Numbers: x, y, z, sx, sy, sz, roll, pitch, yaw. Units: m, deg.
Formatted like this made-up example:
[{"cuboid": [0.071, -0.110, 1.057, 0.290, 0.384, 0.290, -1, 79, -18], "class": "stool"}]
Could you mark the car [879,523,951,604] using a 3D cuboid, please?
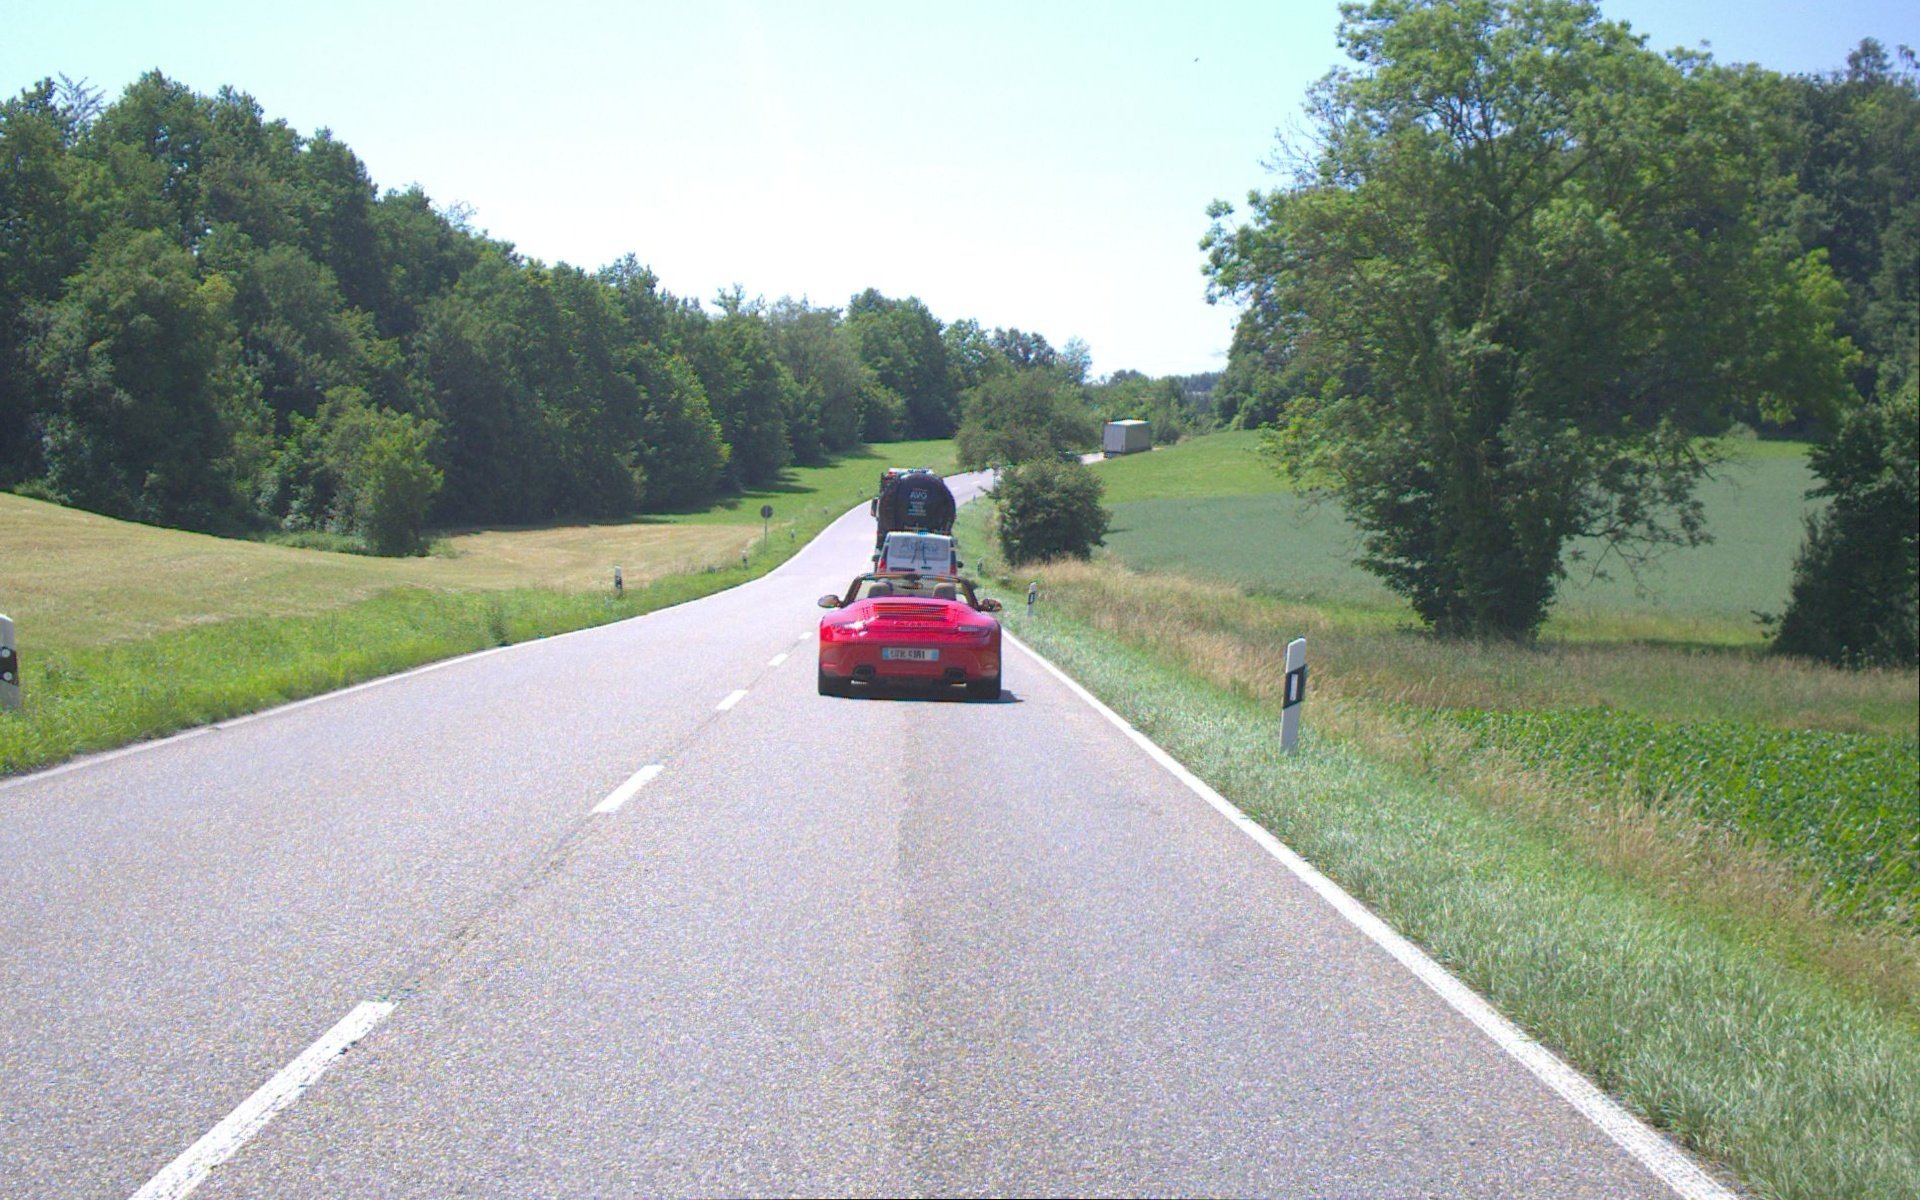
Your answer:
[{"cuboid": [-1.054, -0.892, 82.053, 1.678, 1.894, 4.010, 0, 1, 0], "class": "car"}]

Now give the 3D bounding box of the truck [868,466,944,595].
[{"cuboid": [-1.927, -2.505, 118.096, 2.403, 4.035, 12.553, 0, 3, -2], "class": "truck"}]

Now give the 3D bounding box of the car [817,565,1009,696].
[{"cuboid": [-0.501, 0.283, 35.868, 1.882, 1.251, 4.010, 0, 1, -1], "class": "car"}]

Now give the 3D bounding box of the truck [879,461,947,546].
[{"cuboid": [-2.820, -5.769, 203.205, 3.725, 4.644, 12.033, 0, 3, -2], "class": "truck"}]
